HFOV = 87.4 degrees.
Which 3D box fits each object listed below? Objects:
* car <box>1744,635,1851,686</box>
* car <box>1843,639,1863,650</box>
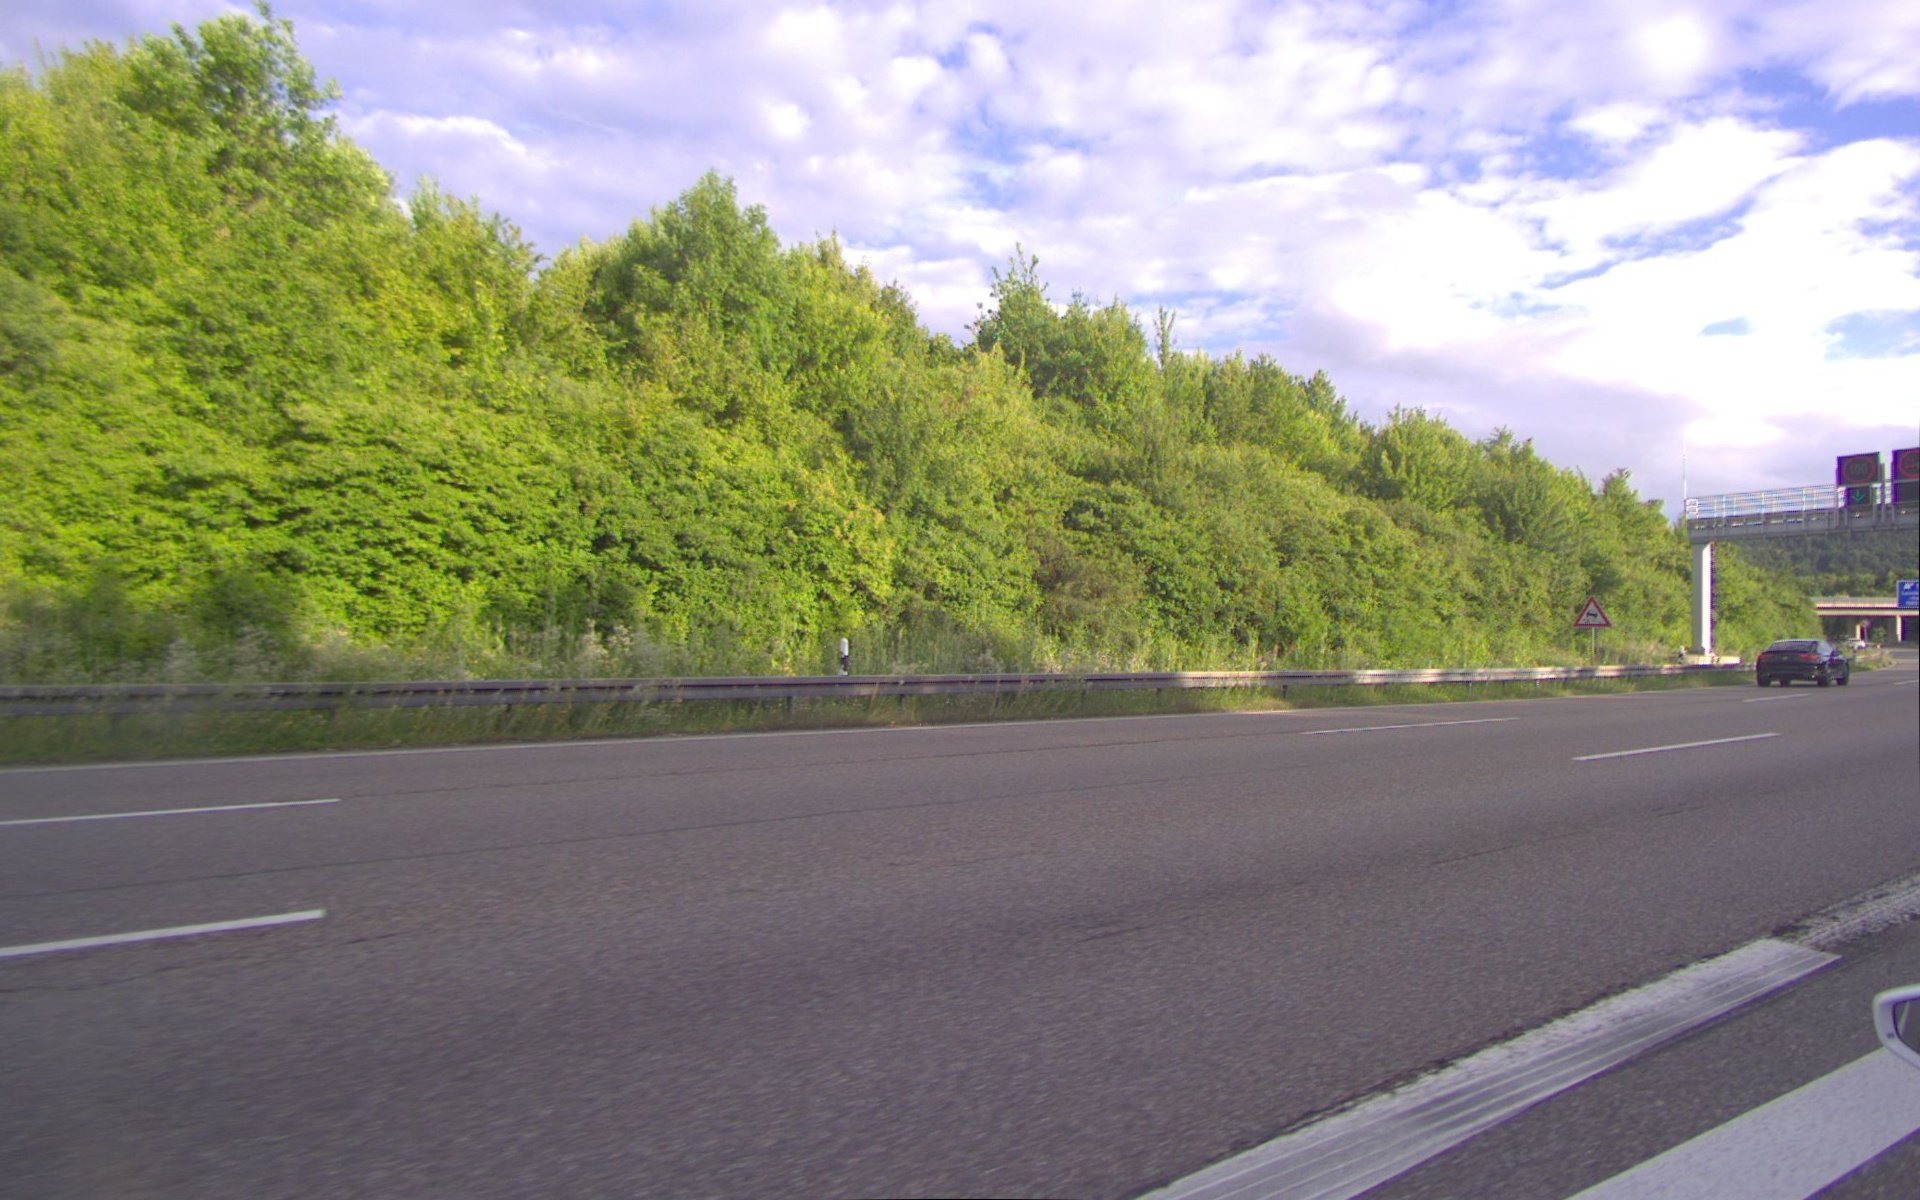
[{"bbox_3d":[28.952,2.091,34.699,3.960,1.656,1.821,2,-4,-35],"label":"car"},{"bbox_3d":[122.571,6.095,137.901,1.715,1.486,3.625,-1,-3,36],"label":"car"}]
